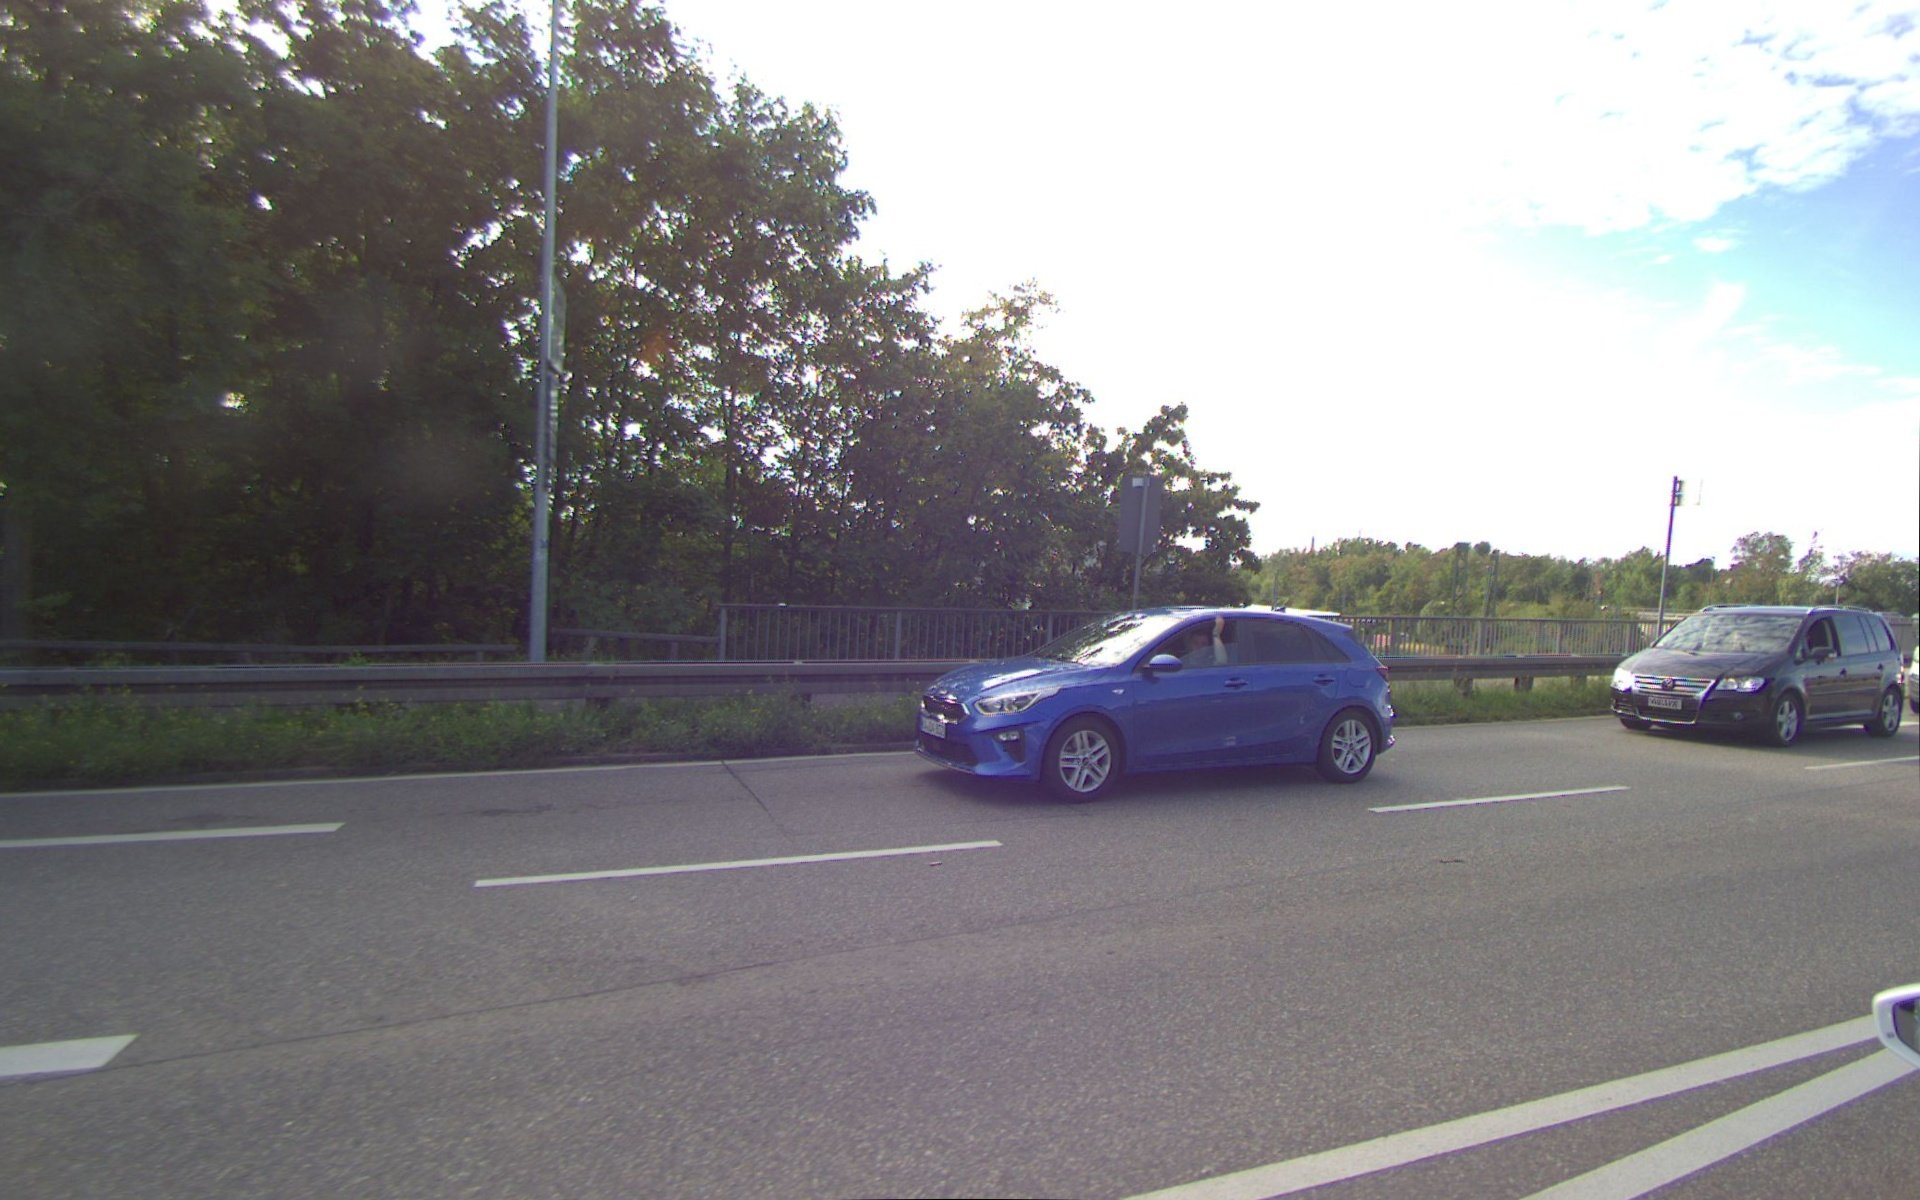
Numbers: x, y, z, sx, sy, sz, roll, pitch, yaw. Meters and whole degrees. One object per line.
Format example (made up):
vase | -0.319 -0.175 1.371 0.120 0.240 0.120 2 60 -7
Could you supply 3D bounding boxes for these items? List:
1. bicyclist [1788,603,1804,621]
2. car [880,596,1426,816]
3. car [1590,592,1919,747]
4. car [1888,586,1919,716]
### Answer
bicyclist | 79.425 1.167 95.419 0.753 1.683 1.120 2 1 16
car | 1.664 0.744 8.575 4.302 1.467 1.887 1 1 -25
car | 10.207 0.780 12.769 4.396 1.676 1.739 1 1 -28
car | 17.170 0.831 16.087 4.988 1.990 1.976 1 1 -30
